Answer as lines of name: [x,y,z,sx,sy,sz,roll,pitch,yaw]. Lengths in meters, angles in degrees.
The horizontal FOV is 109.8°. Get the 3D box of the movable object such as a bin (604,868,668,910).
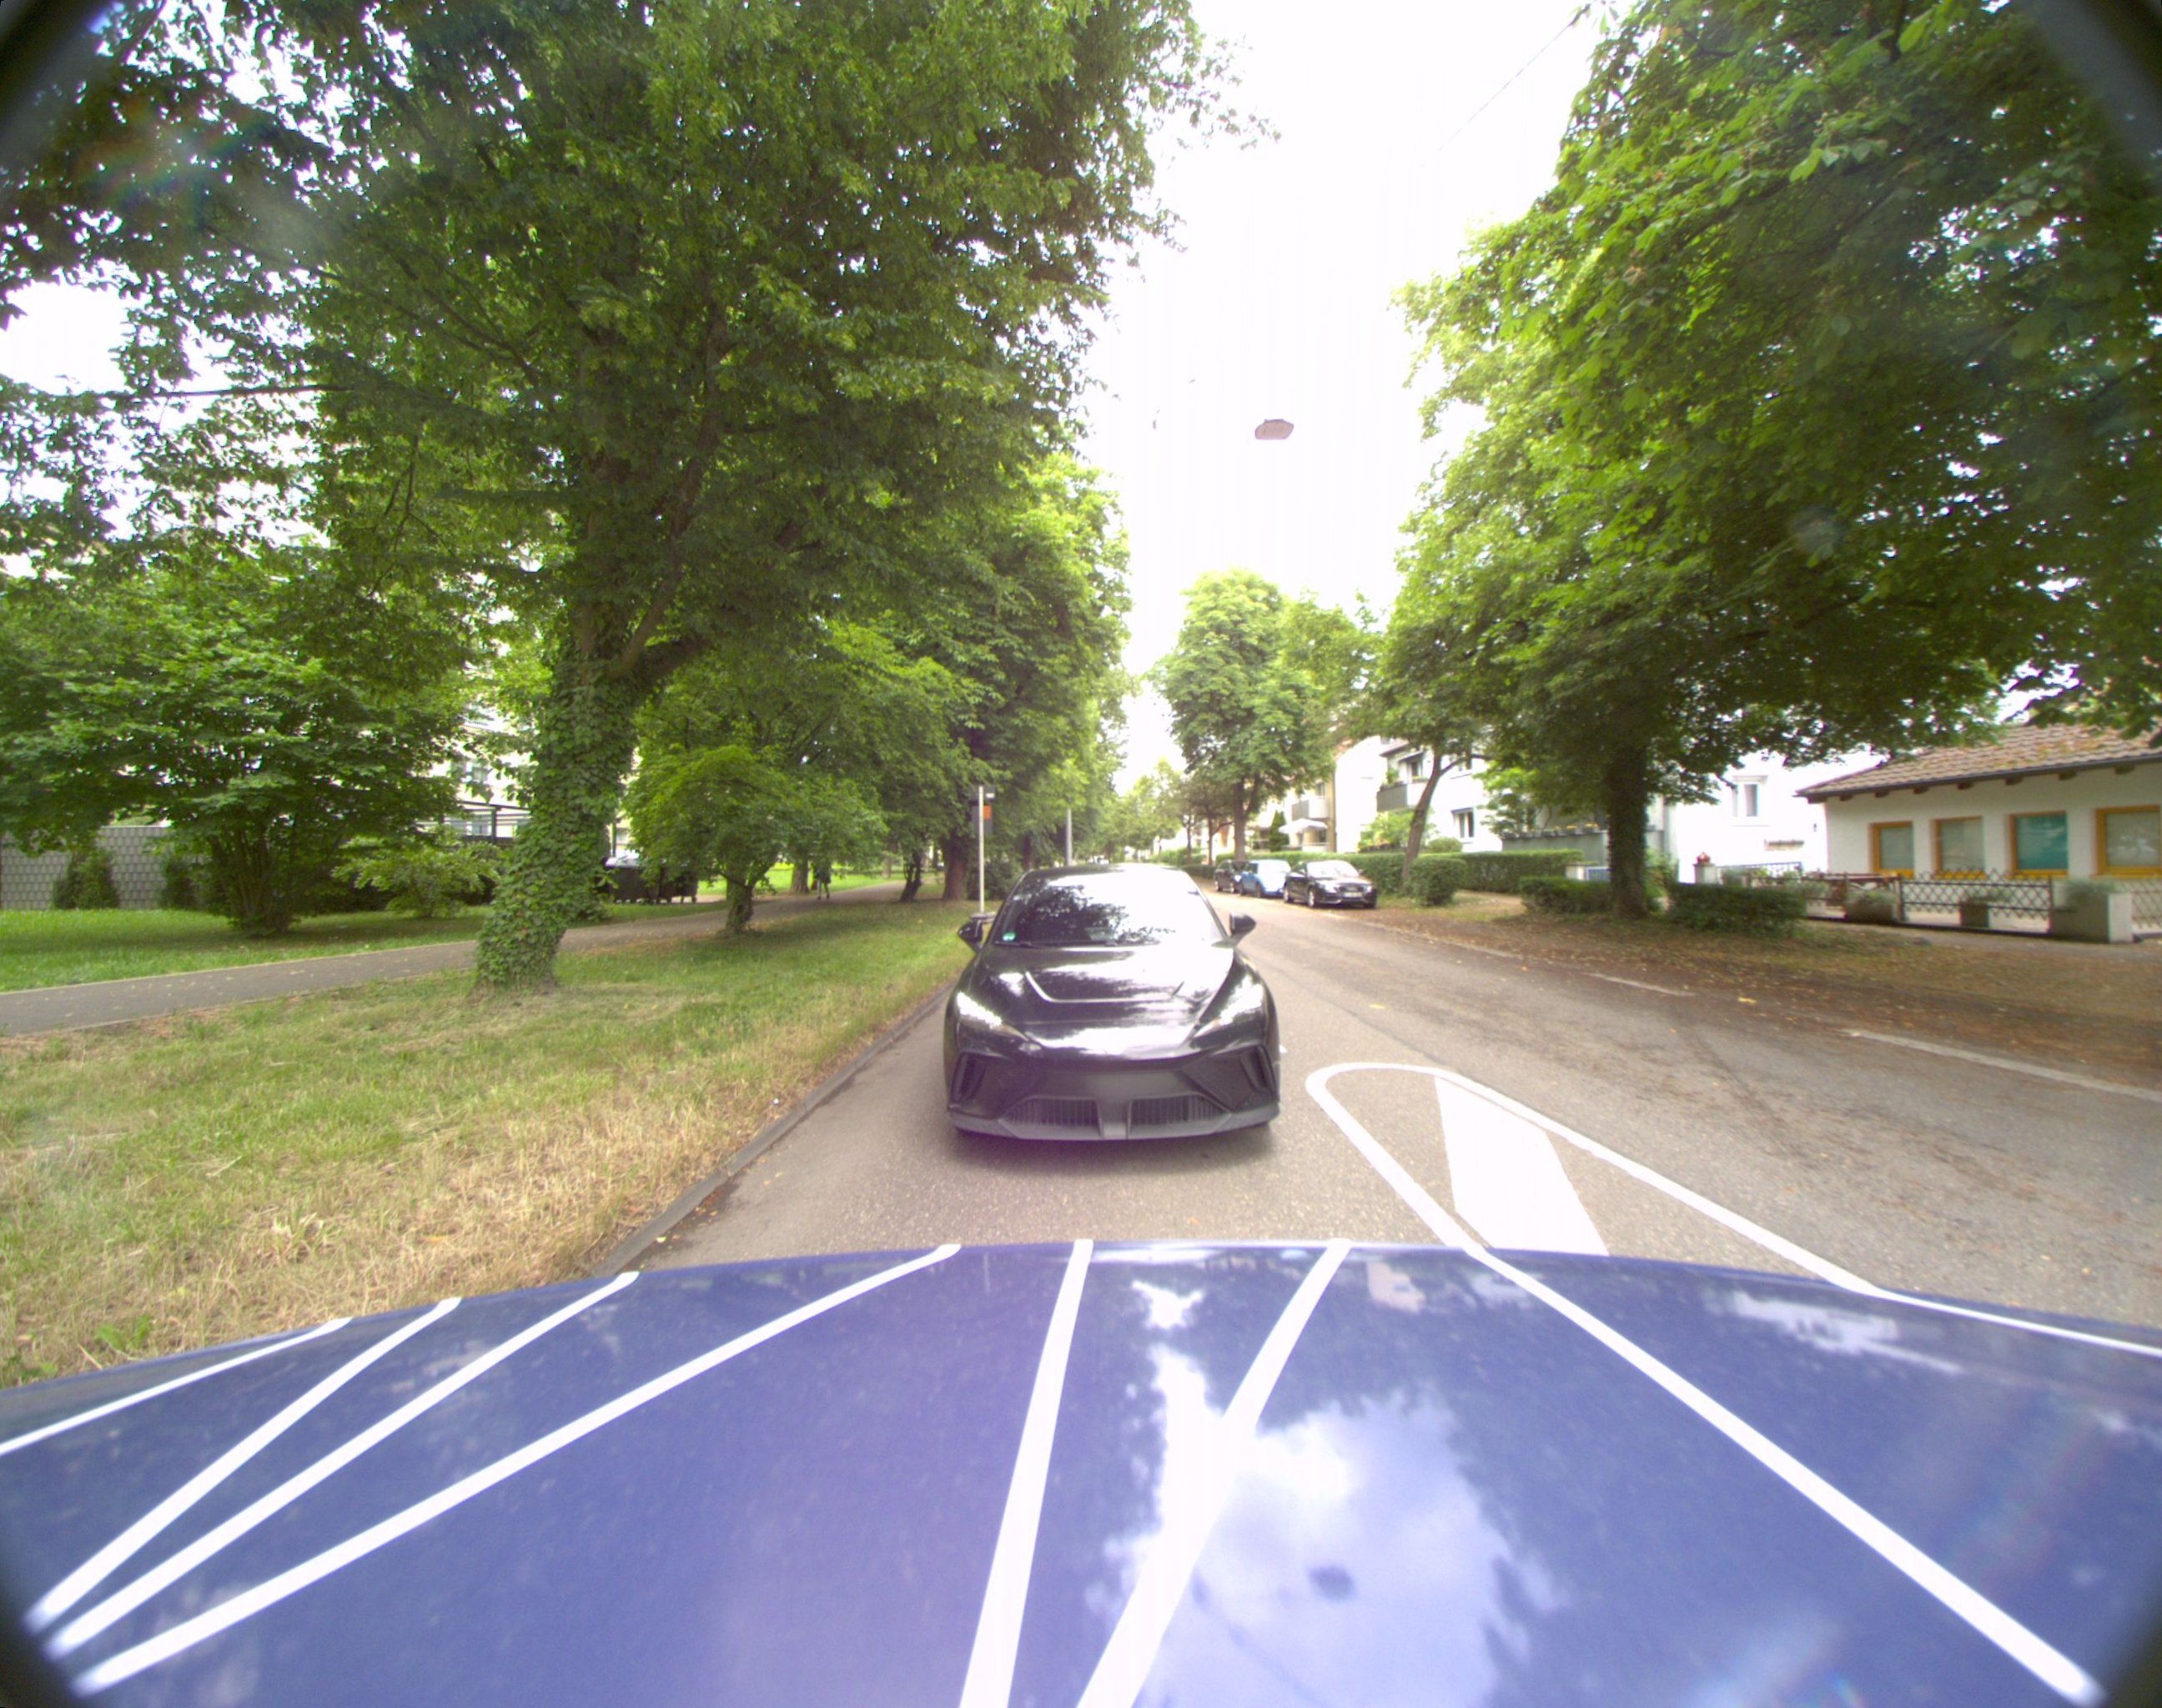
movable object such as a bin: [-13.259,1.024,22.685,1.194,1.213,1.348,0,0,-8]

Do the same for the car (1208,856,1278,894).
car: [7.072,0.881,33.661,1.889,1.524,4.565,0,0,-3]

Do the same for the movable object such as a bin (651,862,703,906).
movable object such as a bin: [-13.247,0.983,24.977,1.194,1.405,1.110,0,0,-8]

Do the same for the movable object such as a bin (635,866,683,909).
movable object such as a bin: [-13.244,1.043,23.884,1.026,1.296,0.960,0,0,-8]

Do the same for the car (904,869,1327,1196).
car: [0.185,0.891,5.906,1.998,1.491,4.615,0,0,1]

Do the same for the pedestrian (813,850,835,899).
pedestrian: [-9.278,0.743,27.458,0.565,1.730,0.570,1,0,0]

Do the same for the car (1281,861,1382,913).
car: [7.402,0.914,22.886,1.735,1.394,4.172,0,0,1]

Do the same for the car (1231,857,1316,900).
car: [7.202,0.879,28.907,1.889,1.492,4.565,0,0,-3]

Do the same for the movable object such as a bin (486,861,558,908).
movable object such as a bin: [-16.517,0.891,22.489,1.194,1.334,1.348,0,0,-8]

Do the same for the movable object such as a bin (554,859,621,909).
movable object such as a bin: [-14.576,0.867,22.492,1.194,1.448,1.348,0,0,-8]
